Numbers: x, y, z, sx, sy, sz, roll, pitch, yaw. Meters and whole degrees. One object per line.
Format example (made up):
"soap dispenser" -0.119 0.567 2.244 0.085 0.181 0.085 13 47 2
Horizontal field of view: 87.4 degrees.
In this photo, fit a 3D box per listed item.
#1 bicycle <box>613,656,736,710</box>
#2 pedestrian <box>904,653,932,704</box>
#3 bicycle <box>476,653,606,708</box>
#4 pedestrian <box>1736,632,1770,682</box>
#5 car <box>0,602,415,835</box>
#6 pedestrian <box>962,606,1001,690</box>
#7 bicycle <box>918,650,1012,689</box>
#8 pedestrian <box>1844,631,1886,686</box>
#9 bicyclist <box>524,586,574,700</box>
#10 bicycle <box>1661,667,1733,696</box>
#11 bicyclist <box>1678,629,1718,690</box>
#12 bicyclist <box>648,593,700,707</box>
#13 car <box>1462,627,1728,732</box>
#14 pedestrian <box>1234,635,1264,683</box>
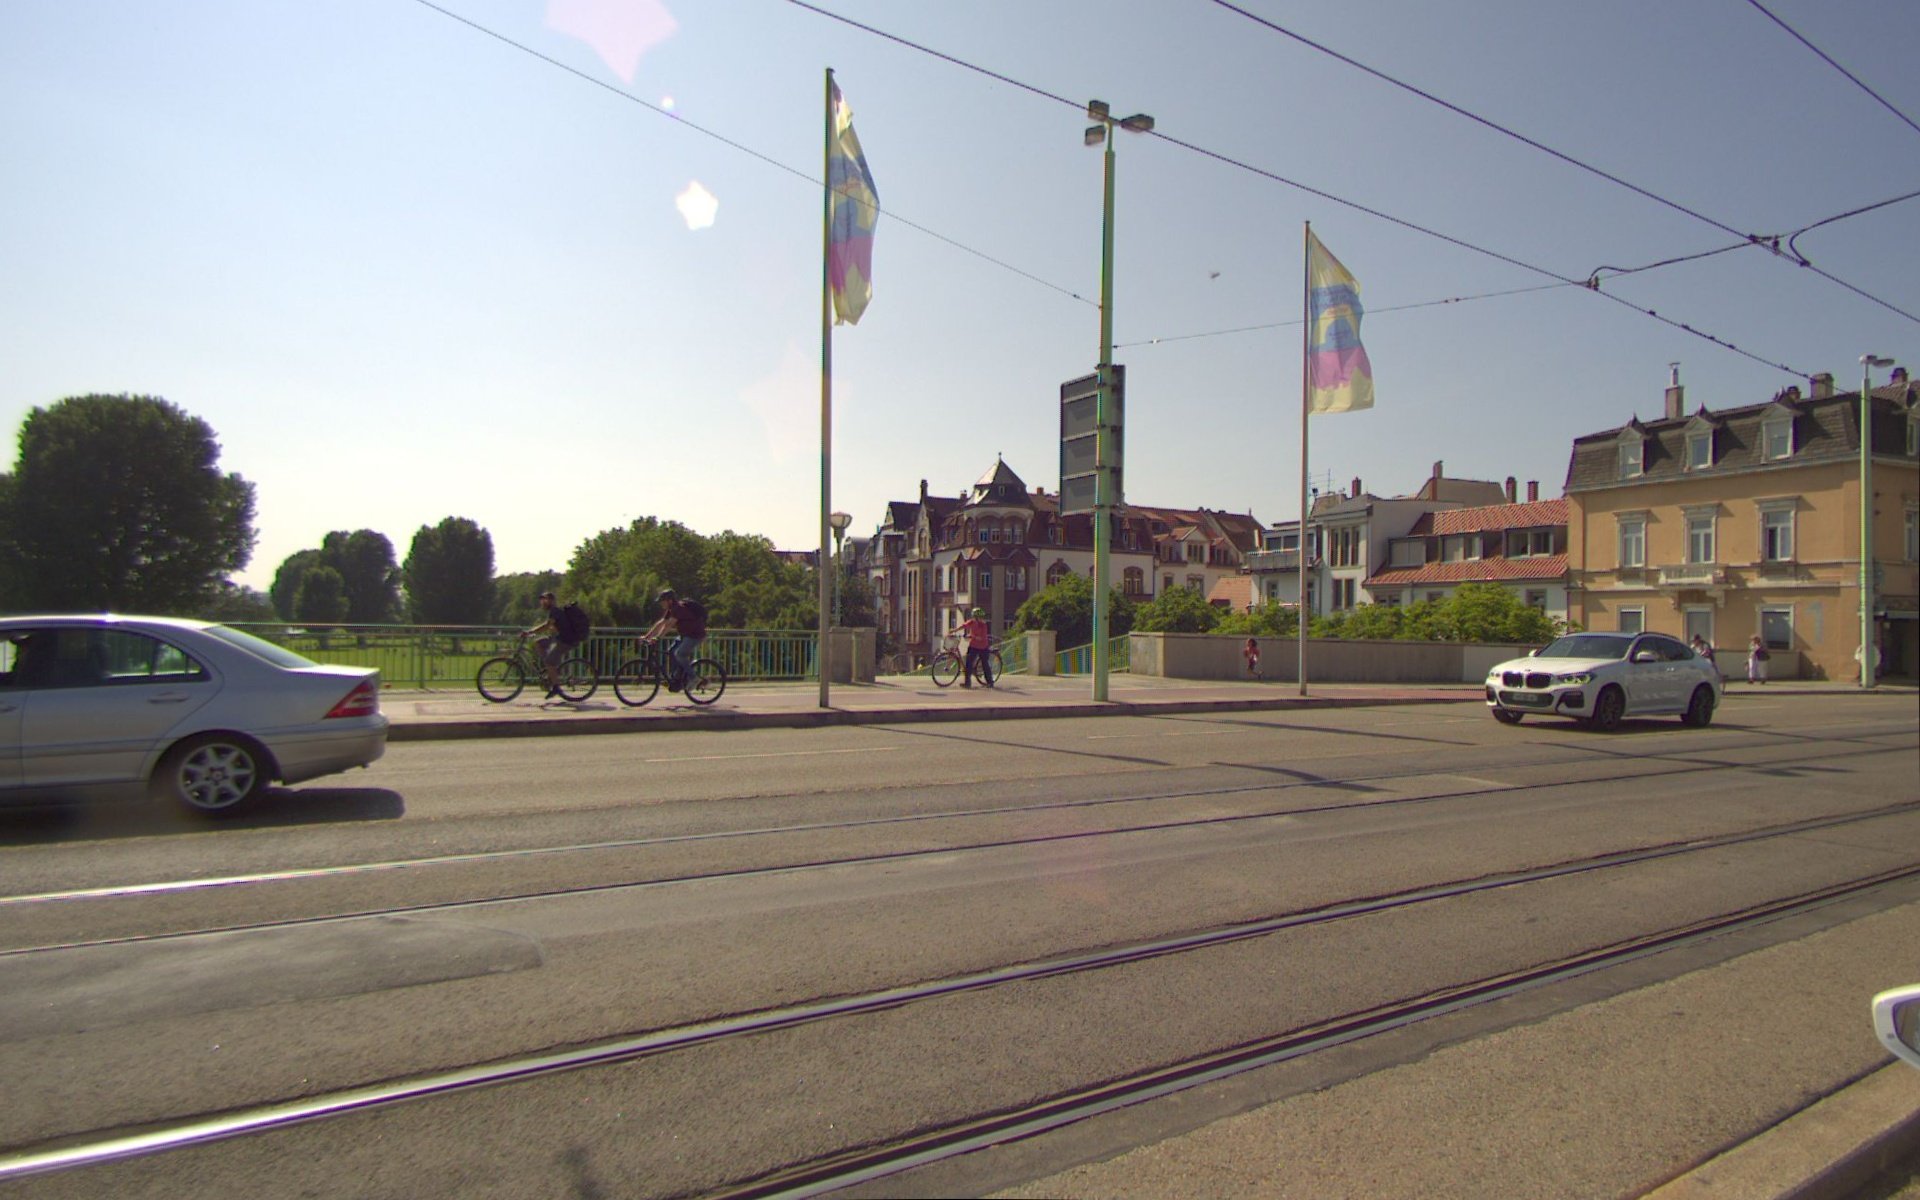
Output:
"bicycle" -4.338 1.244 15.292 1.710 0.726 0.617 1 1 -30
"pedestrian" -1.543 2.850 36.739 0.791 1.804 0.743 2 -2 -26
"bicycle" -6.325 1.199 15.180 1.750 0.726 0.617 1 1 -30
"pedestrian" 26.957 1.937 34.163 0.559 1.624 0.646 -1 4 -29
"car" -6.413 0.763 7.180 4.325 1.479 1.722 2 -2 -32
"pedestrian" 0.434 0.965 20.366 0.620 1.654 0.410 2 1 -31
"bicycle" 0.119 1.425 20.803 1.912 0.726 0.617 1 1 -32
"pedestrian" 31.072 2.006 34.484 0.778 1.790 0.733 2 3 -29
"bicyclist" -6.231 0.637 15.217 0.614 1.672 0.624 1 1 -29
"bicycle" 20.692 2.284 28.194 2.014 0.726 0.619 1 1 -21
"bicyclist" 20.712 1.668 28.192 0.612 1.672 0.626 1 1 -21
"bicyclist" -4.346 0.746 15.273 0.614 1.672 0.624 1 1 -29
"car" 11.151 1.343 17.593 4.595 1.607 1.985 2 -2 -29
"pedestrian" 7.260 1.483 25.207 0.535 1.161 0.412 3 0 -15
